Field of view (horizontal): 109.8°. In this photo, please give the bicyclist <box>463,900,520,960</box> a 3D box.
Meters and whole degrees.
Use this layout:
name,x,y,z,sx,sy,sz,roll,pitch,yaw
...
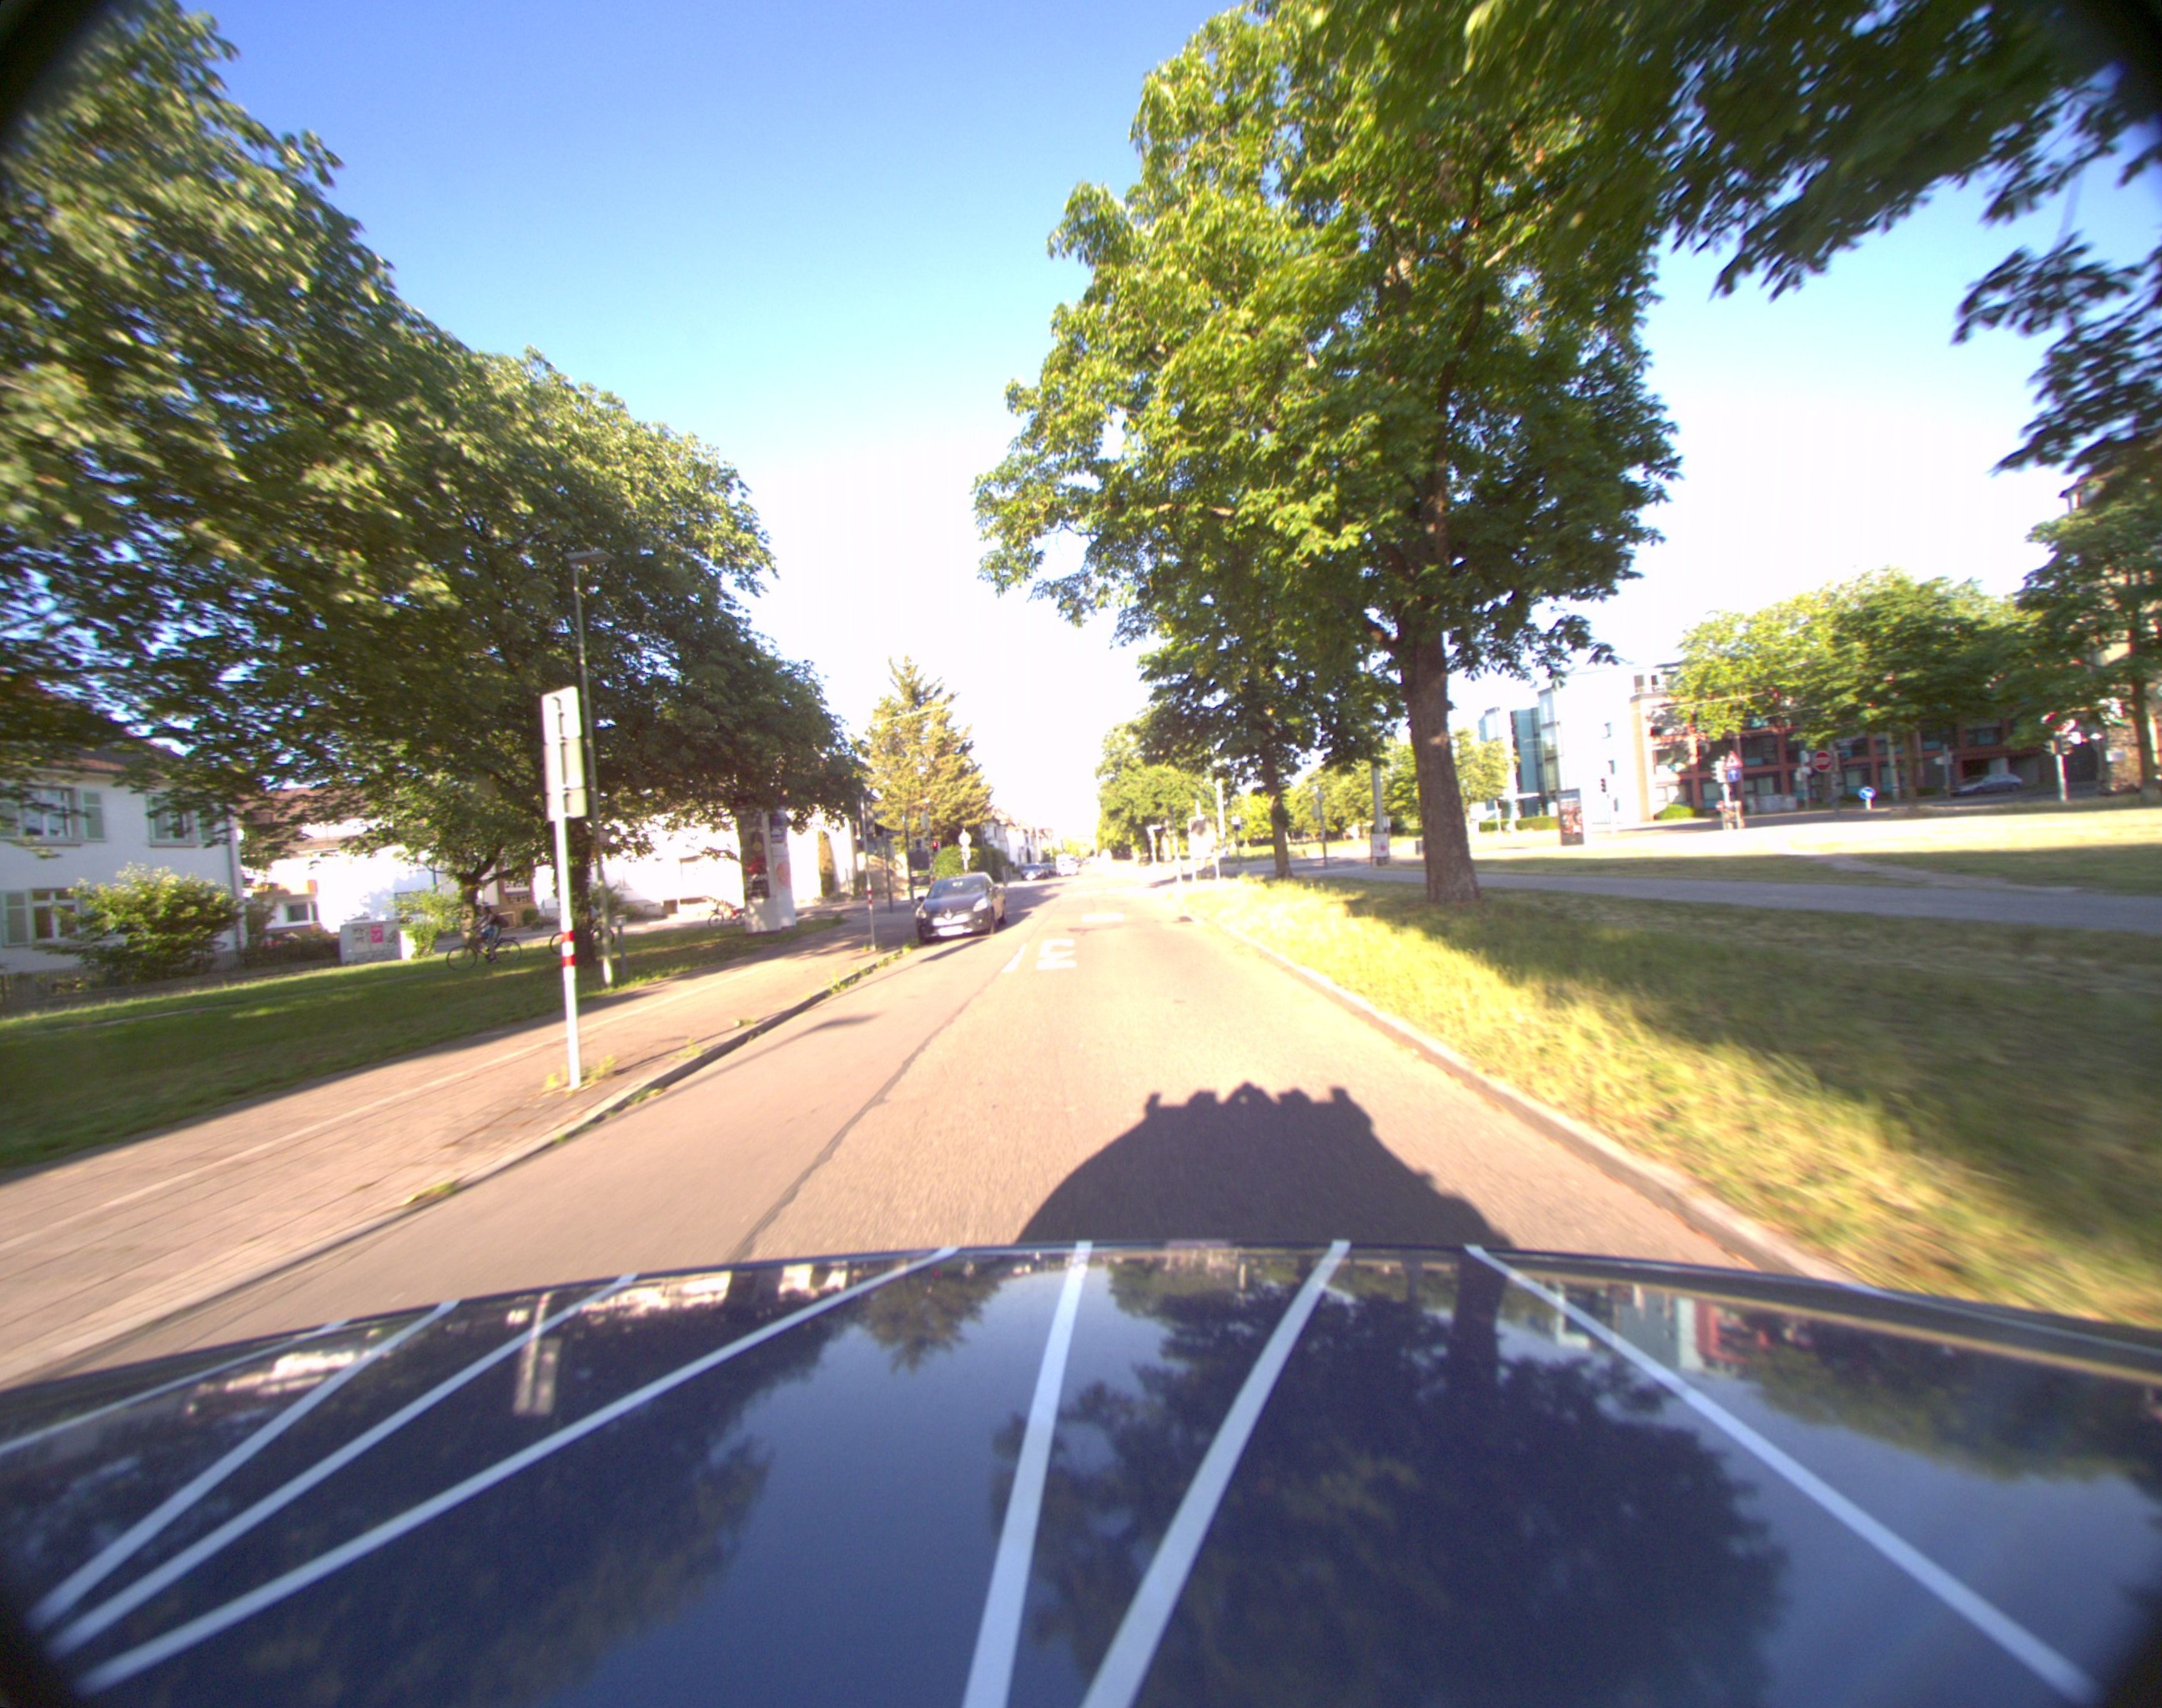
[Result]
name,x,y,z,sx,sy,sz,roll,pitch,yaw
bicyclist,-16.745,2.137,21.590,0.713,1.553,0.894,-5,2,13

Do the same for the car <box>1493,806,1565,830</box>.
name,x,y,z,sx,sy,sz,roll,pitch,yaw
car,40.083,-3.170,68.048,5.220,1.662,1.967,-5,2,-2

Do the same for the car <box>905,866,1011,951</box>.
name,x,y,z,sx,sy,sz,roll,pitch,yaw
car,-2.858,1.218,18.671,1.730,1.502,4.539,-7,1,0

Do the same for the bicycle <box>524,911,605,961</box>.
name,x,y,z,sx,sy,sz,roll,pitch,yaw
bicycle,-15.510,2.444,22.878,0.573,1.177,1.907,-7,1,20

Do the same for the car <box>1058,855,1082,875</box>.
name,x,y,z,sx,sy,sz,roll,pitch,yaw
car,-1.146,1.085,76.592,1.999,1.775,3.998,-7,1,-5

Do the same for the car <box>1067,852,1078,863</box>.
name,x,y,z,sx,sy,sz,roll,pitch,yaw
car,-1.689,0.740,154.010,1.708,1.848,3.713,-8,1,2

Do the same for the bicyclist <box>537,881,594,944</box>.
name,x,y,z,sx,sy,sz,roll,pitch,yaw
bicyclist,-15.566,1.761,22.961,0.816,1.722,0.894,-7,1,19

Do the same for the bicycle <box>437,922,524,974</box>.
name,x,y,z,sx,sy,sz,roll,pitch,yaw
bicycle,-16.770,2.594,21.293,0.492,1.177,1.966,-4,0,14

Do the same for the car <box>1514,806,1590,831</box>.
name,x,y,z,sx,sy,sz,roll,pitch,yaw
car,40.291,-3.028,65.067,5.220,1.662,1.999,-5,1,-1

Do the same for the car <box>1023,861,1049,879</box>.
name,x,y,z,sx,sy,sz,roll,pitch,yaw
car,-4.049,1.417,69.243,2.009,1.490,4.915,-4,0,-1

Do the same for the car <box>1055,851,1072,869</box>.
name,x,y,z,sx,sy,sz,roll,pitch,yaw
car,-2.855,0.979,125.090,2.132,2.461,5.724,-8,1,1

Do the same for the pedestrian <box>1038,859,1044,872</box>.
name,x,y,z,sx,sy,sz,roll,pitch,yaw
pedestrian,-5.841,1.676,110.761,0.587,1.835,0.824,-8,1,3

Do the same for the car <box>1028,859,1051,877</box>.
name,x,y,z,sx,sy,sz,roll,pitch,yaw
car,-4.103,1.383,75.339,1.784,1.469,4.000,-8,0,1

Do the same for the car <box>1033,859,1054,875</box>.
name,x,y,z,sx,sy,sz,roll,pitch,yaw
car,-4.154,1.420,84.857,1.796,1.586,4.077,-8,-1,1
